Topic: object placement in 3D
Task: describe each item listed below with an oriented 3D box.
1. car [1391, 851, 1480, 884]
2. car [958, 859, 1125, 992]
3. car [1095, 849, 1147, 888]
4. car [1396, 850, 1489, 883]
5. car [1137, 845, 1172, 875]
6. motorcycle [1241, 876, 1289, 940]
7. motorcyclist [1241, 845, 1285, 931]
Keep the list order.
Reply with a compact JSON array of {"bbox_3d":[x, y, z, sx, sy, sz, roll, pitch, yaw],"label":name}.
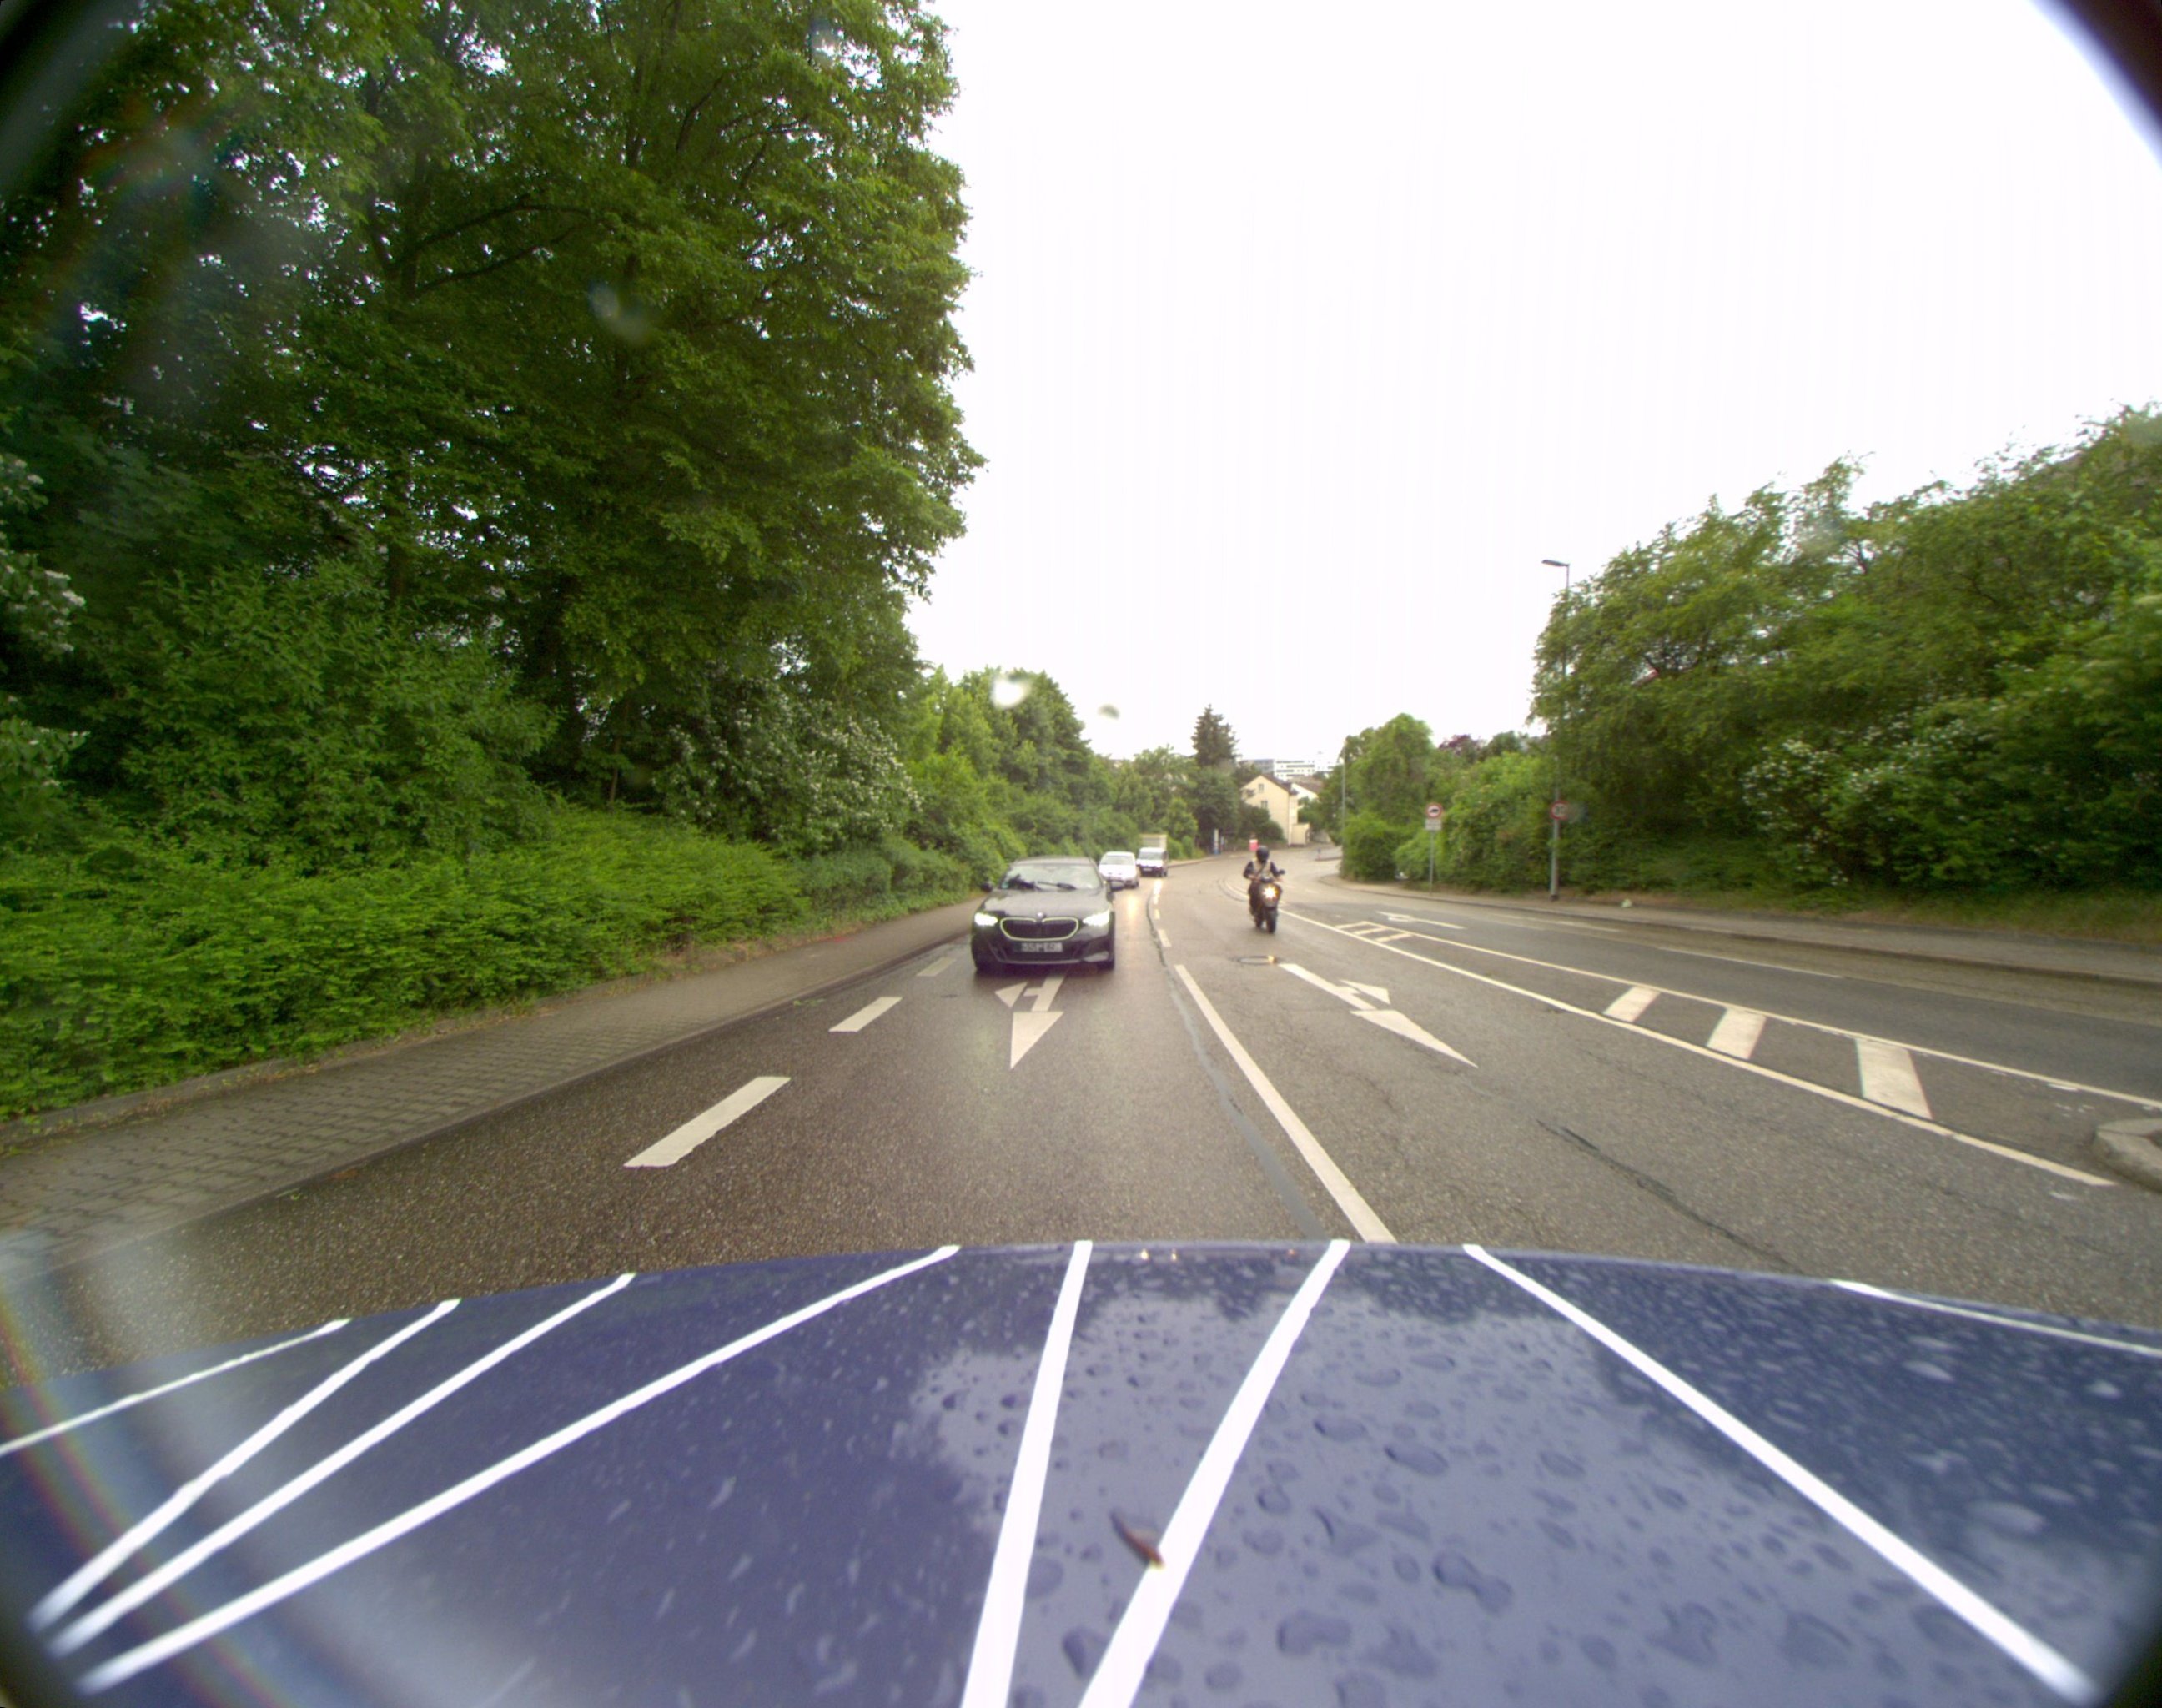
[{"bbox_3d":[19.453,0.730,41.879,3.995,1.527,2.001,-4,0,8],"label":"car"},{"bbox_3d":[-0.372,0.876,11.339,1.871,1.497,4.199,1,1,6],"label":"car"},{"bbox_3d":[1.818,0.583,33.291,1.816,1.431,4.002,3,2,9],"label":"car"},{"bbox_3d":[18.546,0.610,39.167,3.908,1.432,1.812,-4,0,9],"label":"car"},{"bbox_3d":[4.767,0.351,48.750,1.776,1.765,4.003,3,2,11],"label":"car"},{"bbox_3d":[3.557,1.019,14.783,0.692,1.047,1.747,1,2,7],"label":"motorcycle"},{"bbox_3d":[3.572,0.650,14.979,0.766,1.633,0.674,0,2,7],"label":"motorcyclist"}]
